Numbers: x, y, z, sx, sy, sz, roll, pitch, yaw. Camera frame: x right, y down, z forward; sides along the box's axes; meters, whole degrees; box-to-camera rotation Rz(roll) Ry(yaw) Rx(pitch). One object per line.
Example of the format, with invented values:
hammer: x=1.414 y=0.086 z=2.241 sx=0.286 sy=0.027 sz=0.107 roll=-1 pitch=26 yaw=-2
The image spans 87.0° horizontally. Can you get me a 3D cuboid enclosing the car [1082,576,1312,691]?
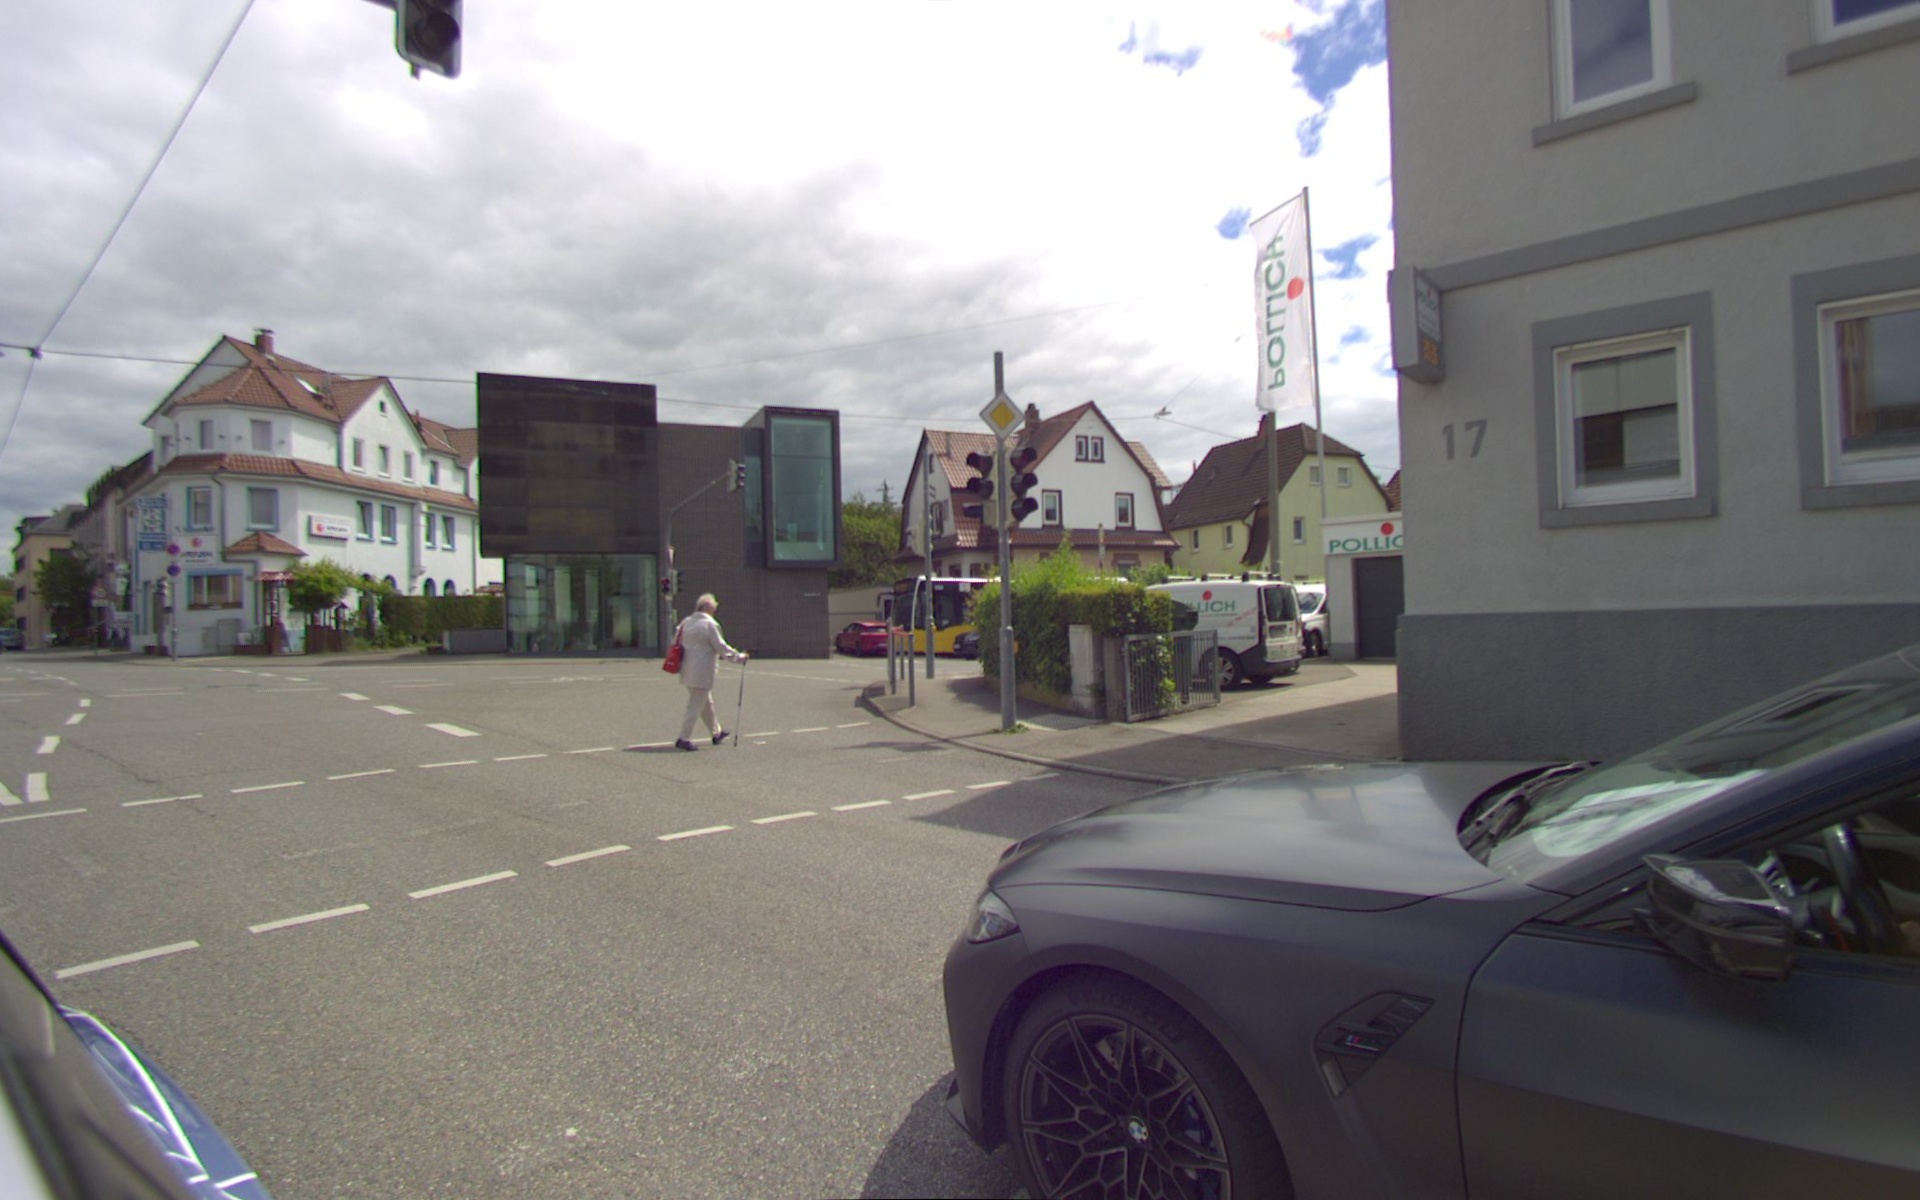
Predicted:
car: x=4.635 y=0.649 z=20.081 sx=3.999 sy=2.029 sz=1.972 roll=-2 pitch=-2 yaw=42

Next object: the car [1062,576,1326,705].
car: x=3.966 y=0.672 z=17.489 sx=3.998 sy=1.962 sz=1.973 roll=-1 pitch=-2 yaw=41

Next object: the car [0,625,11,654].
car: x=-68.966 y=2.817 z=71.853 sx=3.998 sy=2.029 sz=1.973 roll=-2 pitch=-2 yaw=41

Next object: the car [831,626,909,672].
car: x=-3.894 y=2.045 z=43.211 sx=1.965 sy=1.652 sz=4.013 roll=0 pitch=1 yaw=-27

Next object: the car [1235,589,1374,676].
car: x=9.095 y=0.824 z=26.414 sx=1.996 sy=2.029 sz=5.060 roll=-1 pitch=-2 yaw=36

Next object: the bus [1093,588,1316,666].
bus: x=10.053 y=1.076 z=41.340 sx=9.031 sy=2.937 sz=2.796 roll=0 pitch=-1 yaw=-25

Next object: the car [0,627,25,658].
car: x=-64.968 y=2.862 z=68.536 sx=3.998 sy=2.029 sz=1.973 roll=-2 pitch=-2 yaw=41

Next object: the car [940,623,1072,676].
car: x=1.539 y=1.615 z=33.893 sx=3.930 sy=1.652 sz=2.006 roll=0 pitch=-1 yaw=-23

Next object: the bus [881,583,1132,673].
bus: x=1.795 y=1.001 z=37.567 sx=9.031 sy=3.083 sz=2.796 roll=0 pitch=-2 yaw=-25

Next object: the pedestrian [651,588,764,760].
pedestrian: x=-2.528 y=0.719 z=10.199 sx=0.863 sy=1.650 sz=0.834 roll=-1 pitch=-1 yaw=8

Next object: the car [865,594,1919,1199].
car: x=2.165 y=0.740 z=1.666 sx=4.613 sy=1.468 sz=1.973 roll=-1 pitch=-2 yaw=40
